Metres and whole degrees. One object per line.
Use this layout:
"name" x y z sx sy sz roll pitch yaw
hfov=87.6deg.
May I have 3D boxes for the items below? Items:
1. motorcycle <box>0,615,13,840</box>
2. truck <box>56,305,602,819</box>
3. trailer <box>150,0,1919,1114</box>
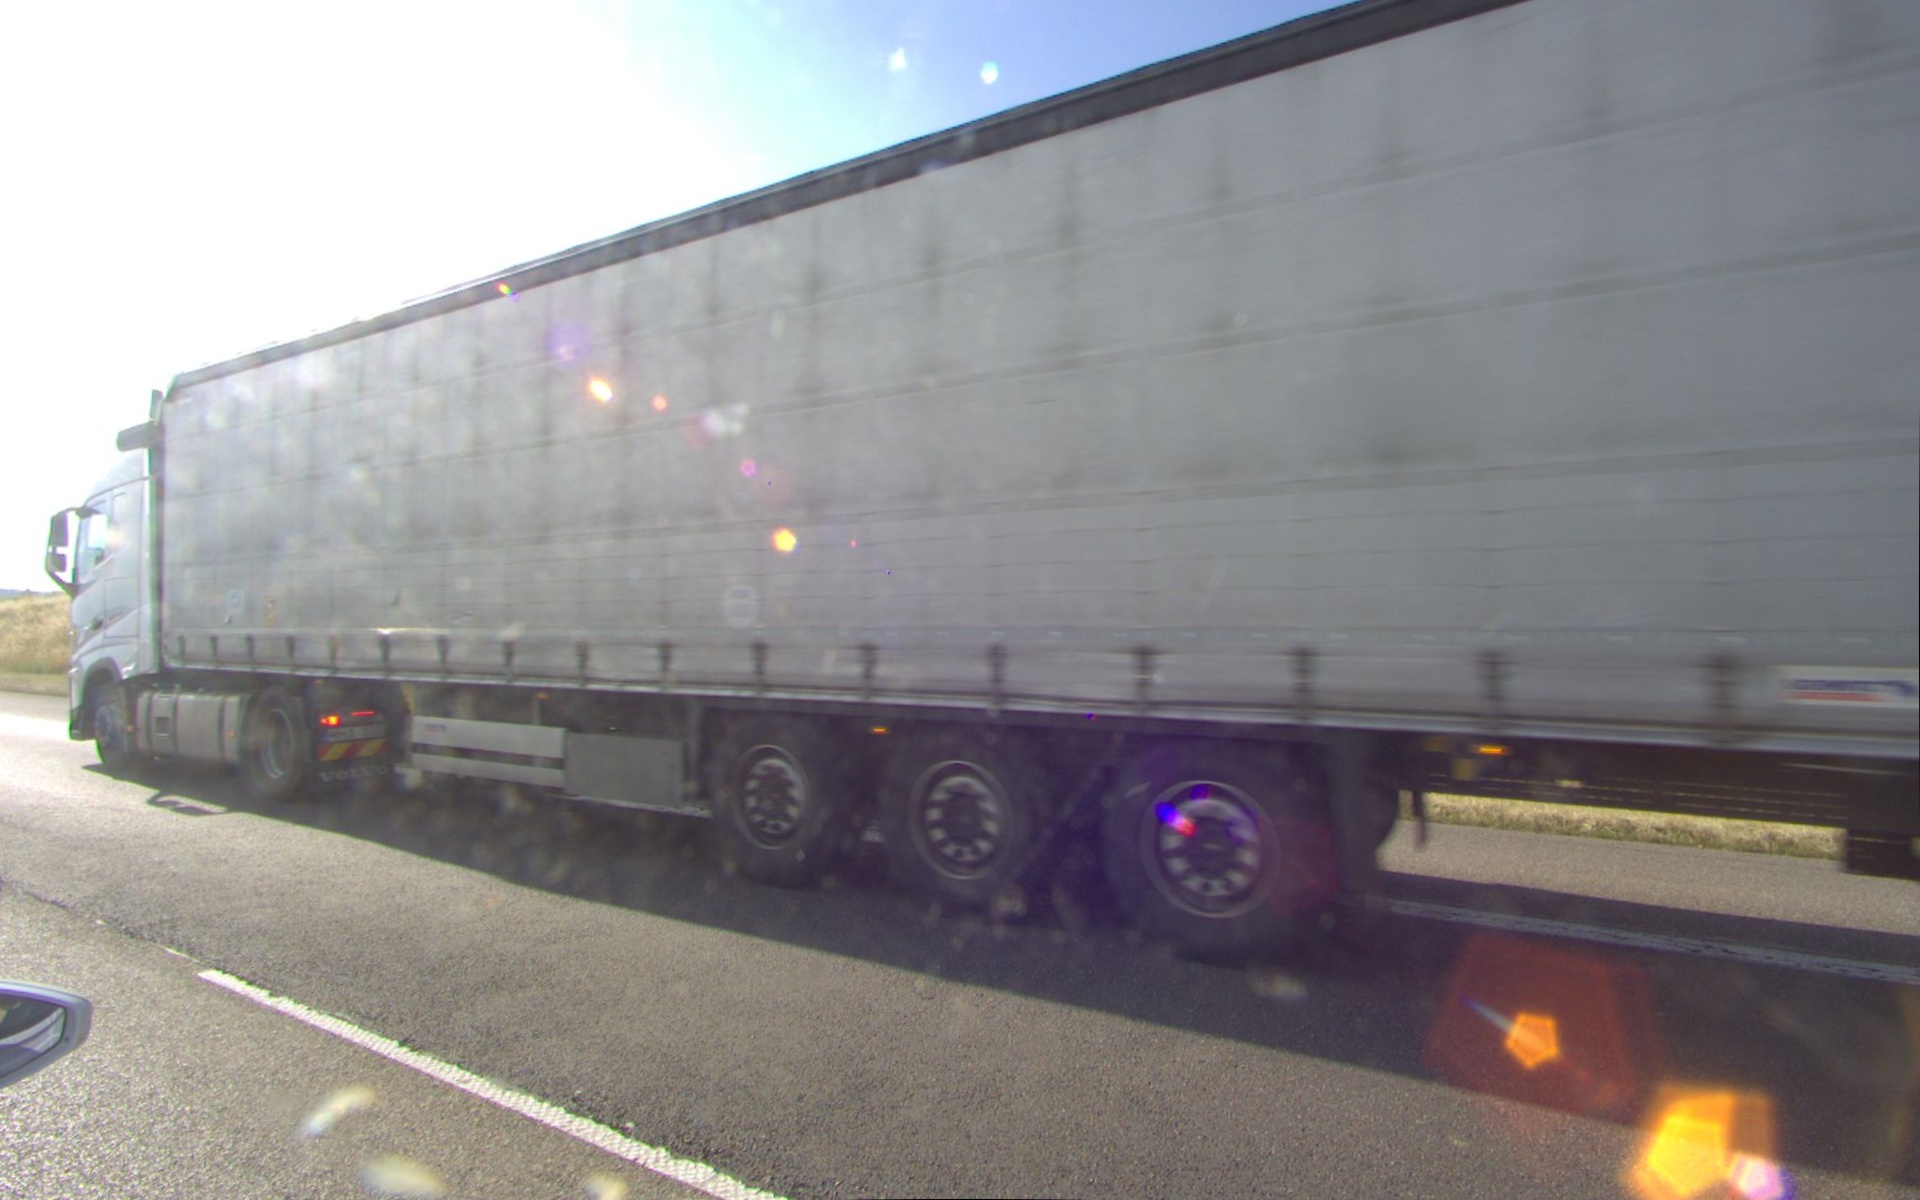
"motorcycle" -7.427 0.853 6.821 2.237 1.474 0.894 -1 -1 32
"truck" -6.871 -0.235 10.686 6.032 4.093 2.596 -1 -1 32
"trailer" -1.526 -0.356 7.376 13.500 4.093 2.612 -1 -1 32
